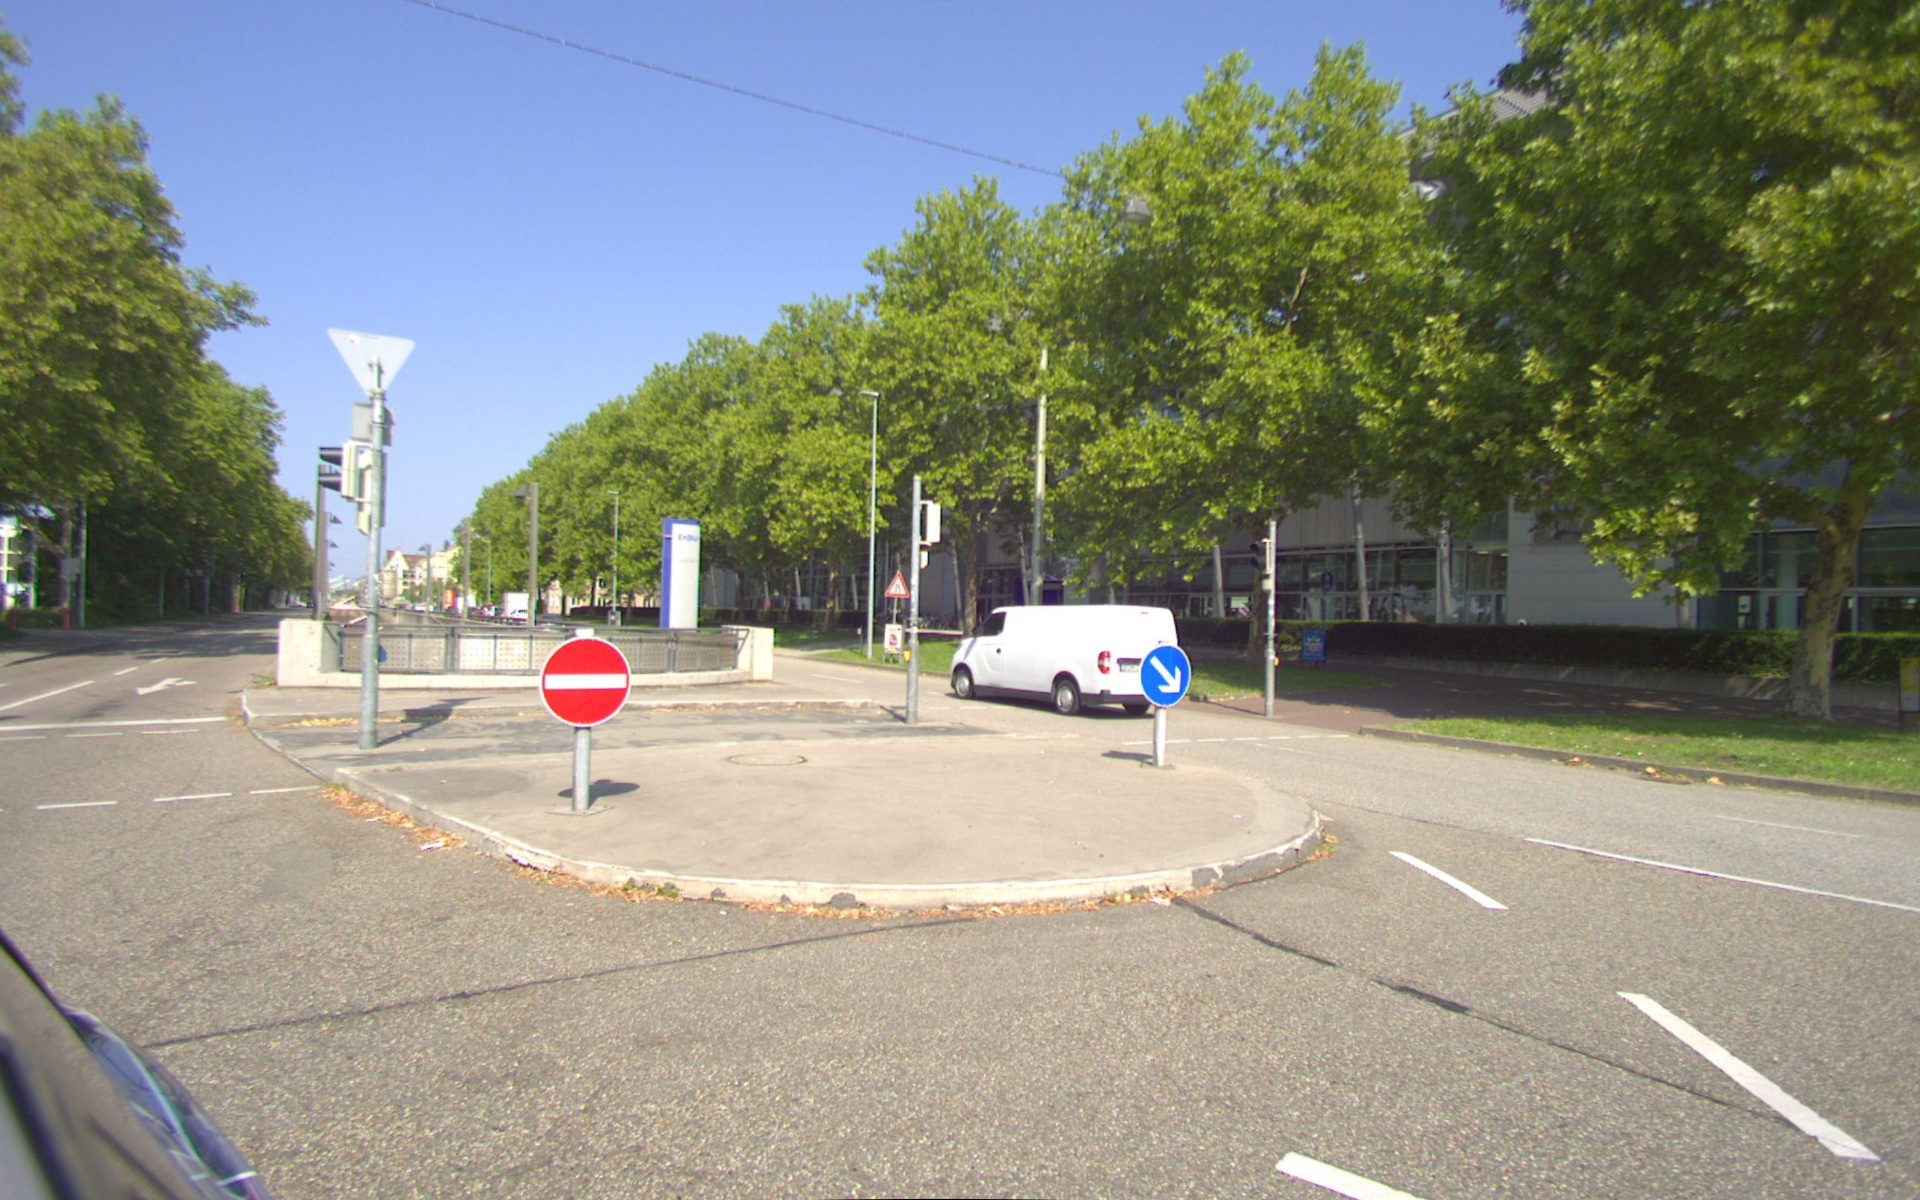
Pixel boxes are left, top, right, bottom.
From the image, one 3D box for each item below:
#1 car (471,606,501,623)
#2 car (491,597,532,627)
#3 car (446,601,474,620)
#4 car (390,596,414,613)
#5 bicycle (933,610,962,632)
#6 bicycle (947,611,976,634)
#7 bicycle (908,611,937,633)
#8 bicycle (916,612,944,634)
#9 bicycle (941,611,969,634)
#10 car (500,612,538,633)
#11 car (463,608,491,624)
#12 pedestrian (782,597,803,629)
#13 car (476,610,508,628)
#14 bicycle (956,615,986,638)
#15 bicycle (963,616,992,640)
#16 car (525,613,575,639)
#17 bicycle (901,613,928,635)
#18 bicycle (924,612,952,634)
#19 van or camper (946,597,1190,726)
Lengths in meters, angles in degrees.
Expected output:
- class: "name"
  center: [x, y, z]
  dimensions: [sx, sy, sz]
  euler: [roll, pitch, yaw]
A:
- class: "car"
  center: [-44.503, 1.340, 94.966]
  dimensions: [1.966, 1.464, 4.011]
  euler: [-1, 0, -33]
- class: "car"
  center: [-35.976, 0.948, 81.095]
  dimensions: [2.254, 2.250, 4.669]
  euler: [-1, 0, -33]
- class: "car"
  center: [-56.317, 1.156, 113.855]
  dimensions: [2.254, 2.095, 4.669]
  euler: [-1, 0, -33]
- class: "car"
  center: [-68.317, 0.574, 123.836]
  dimensions: [1.968, 2.029, 4.008]
  euler: [-1, 0, -37]
- class: "bicycle"
  center: [-0.895, 1.495, 72.872]
  dimensions: [2.135, 1.566, 0.602]
  euler: [-1, 0, -39]
- class: "bicycle"
  center: [0.124, 1.557, 71.668]
  dimensions: [2.135, 1.566, 0.602]
  euler: [-1, 0, -39]
- class: "bicycle"
  center: [-2.772, 1.632, 74.983]
  dimensions: [2.135, 1.566, 0.602]
  euler: [-1, 0, -39]
- class: "bicycle"
  center: [-2.206, 1.676, 74.283]
  dimensions: [2.135, 1.566, 0.602]
  euler: [-1, 0, -39]
- class: "bicycle"
  center: [-0.351, 1.577, 72.239]
  dimensions: [2.135, 1.566, 0.602]
  euler: [-1, 0, -39]
- class: "car"
  center: [-33.462, 1.667, 76.754]
  dimensions: [1.966, 1.464, 4.011]
  euler: [-1, 0, -33]
- class: "car"
  center: [-47.621, 1.561, 99.812]
  dimensions: [1.966, 1.464, 4.011]
  euler: [-1, 0, -33]
- class: "pedestrian"
  center: [-11.059, 0.846, 66.681]
  dimensions: [0.933, 2.029, 1.353]
  euler: [-1, 0, -31]
- class: "car"
  center: [-41.533, 1.661, 89.749]
  dimensions: [1.966, 1.464, 4.011]
  euler: [-1, 0, -33]
- class: "bicycle"
  center: [0.775, 1.844, 70.933]
  dimensions: [2.135, 1.566, 0.602]
  euler: [-1, 0, -39]
- class: "bicycle"
  center: [1.212, 1.927, 70.296]
  dimensions: [2.135, 1.566, 0.602]
  euler: [-1, 0, -39]
- class: "car"
  center: [-21.752, 1.345, 53.653]
  dimensions: [1.634, 1.230, 3.904]
  euler: [-1, 0, -35]
- class: "bicycle"
  center: [-3.399, 1.769, 75.866]
  dimensions: [2.135, 1.566, 0.602]
  euler: [-1, 0, -39]
- class: "bicycle"
  center: [-1.597, 1.656, 73.406]
  dimensions: [2.135, 1.566, 0.602]
  euler: [-1, 0, -39]
- class: "van or camper"
  center: [1.786, 1.003, 18.638]
  dimensions: [1.815, 1.962, 4.963]
  euler: [3, 0, -30]
